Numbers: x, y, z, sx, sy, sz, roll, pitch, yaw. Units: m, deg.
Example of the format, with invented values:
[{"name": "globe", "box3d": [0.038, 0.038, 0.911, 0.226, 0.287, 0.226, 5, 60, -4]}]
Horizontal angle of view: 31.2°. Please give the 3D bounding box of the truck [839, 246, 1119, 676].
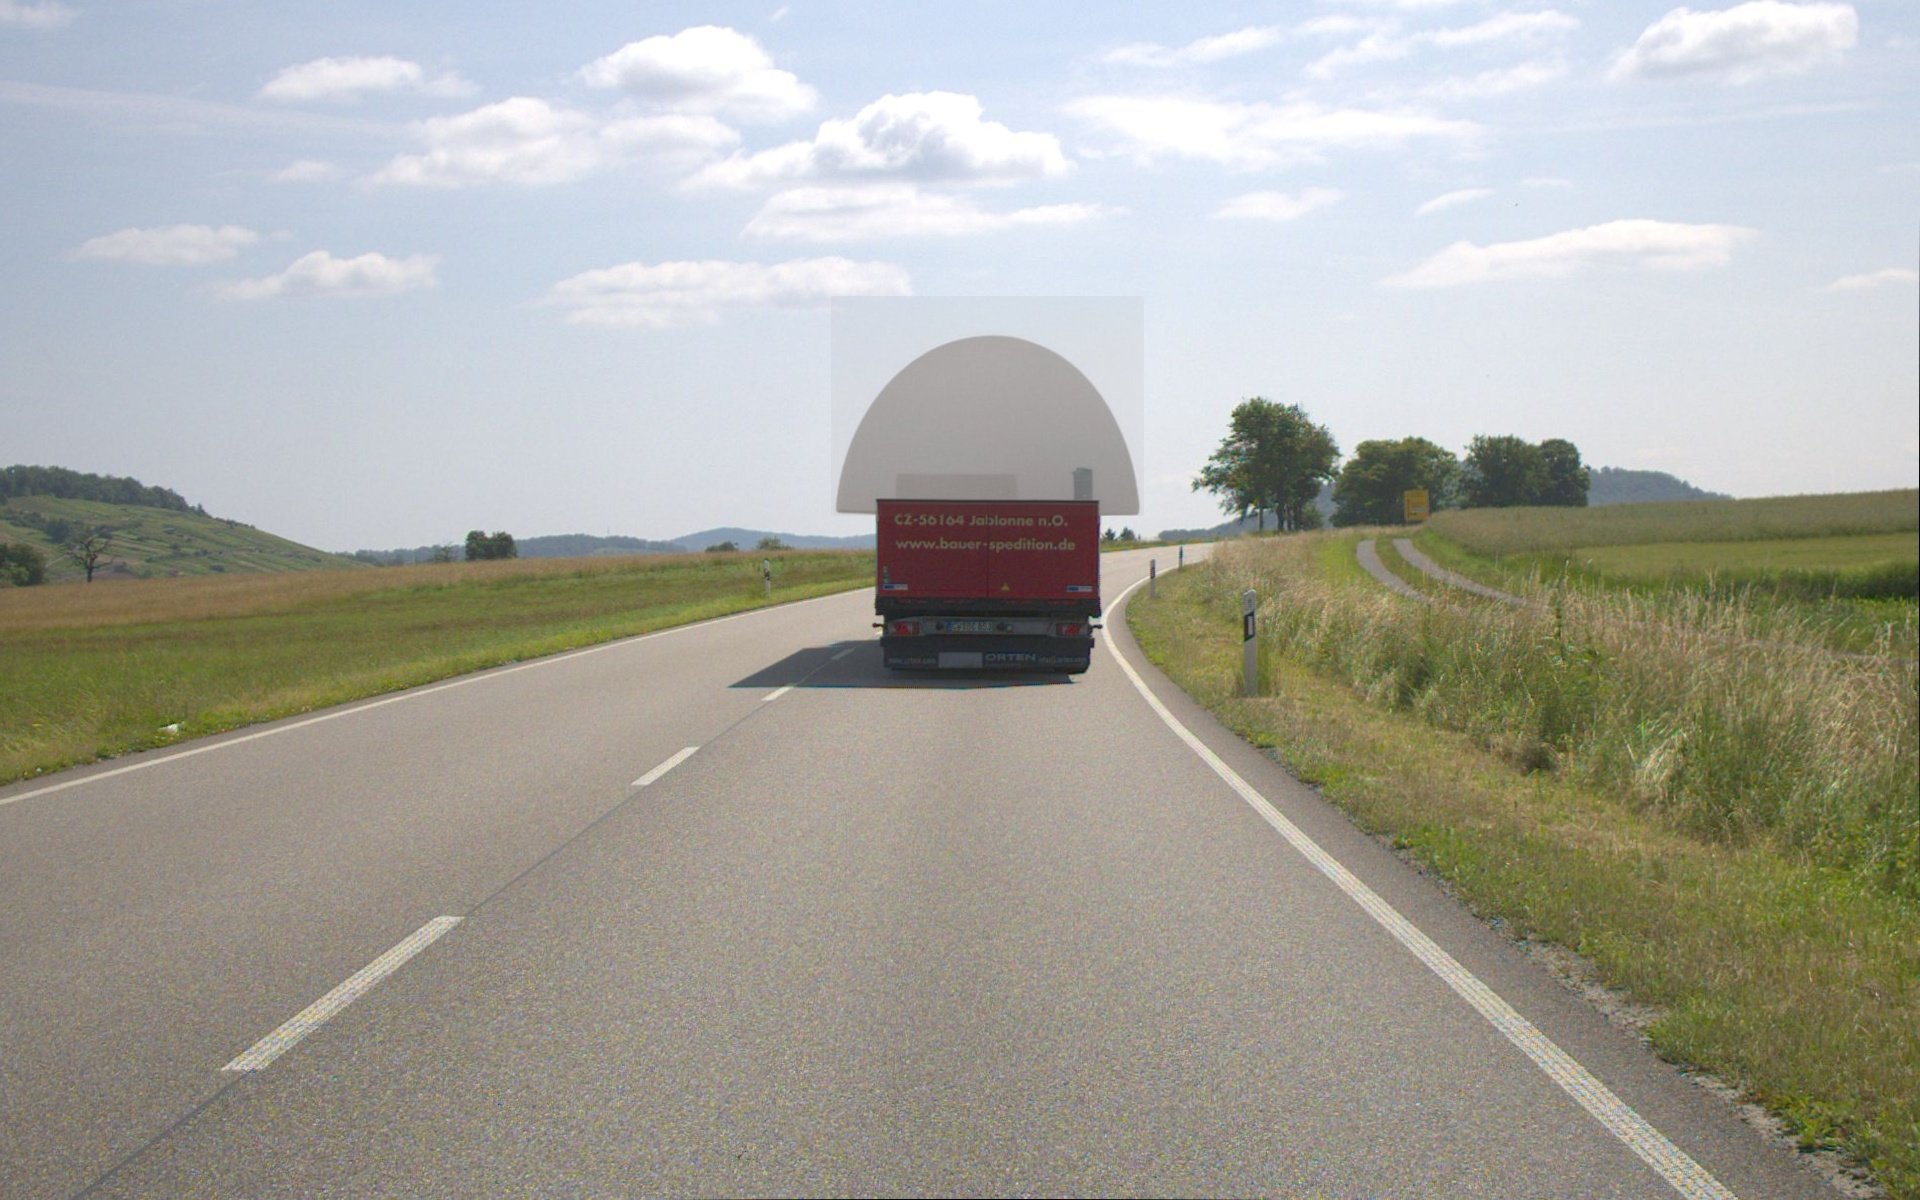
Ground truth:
[{"name": "truck", "box3d": [0.245, -1.627, 43.006, 2.975, 4.697, 9.366, 2, 1, 0]}]
